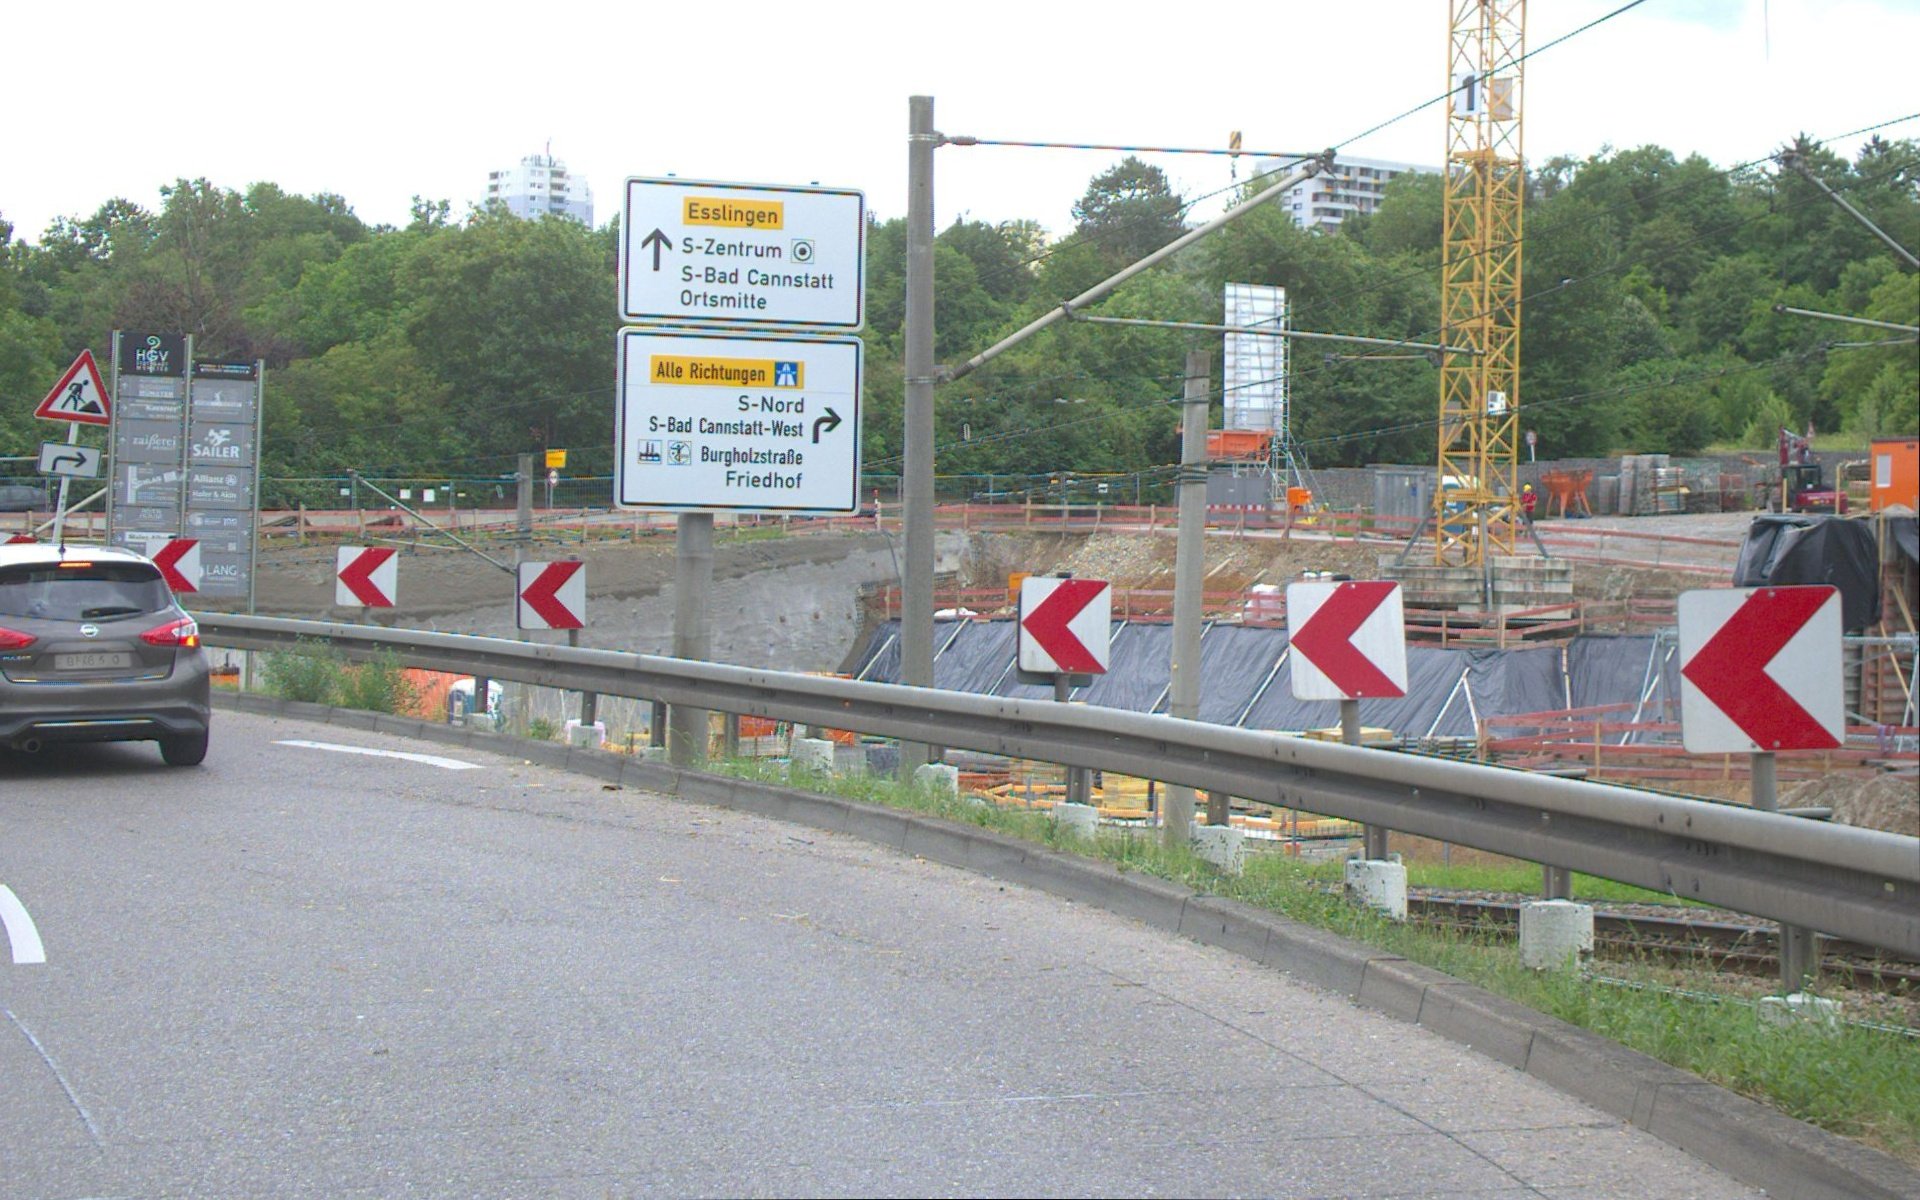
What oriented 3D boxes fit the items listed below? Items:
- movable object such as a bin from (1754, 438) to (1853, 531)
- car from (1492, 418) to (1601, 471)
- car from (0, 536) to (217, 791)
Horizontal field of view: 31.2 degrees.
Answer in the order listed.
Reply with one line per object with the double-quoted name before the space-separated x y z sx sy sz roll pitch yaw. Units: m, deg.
"movable object such as a bin" 28.706 -3.914 117.042 1.835 3.066 2.800 0 0 -33
"car" 23.839 -6.321 139.731 3.987 2.007 2.000 0 0 -30
"car" -6.521 0.370 24.013 1.797 1.546 4.001 -1 2 -24
